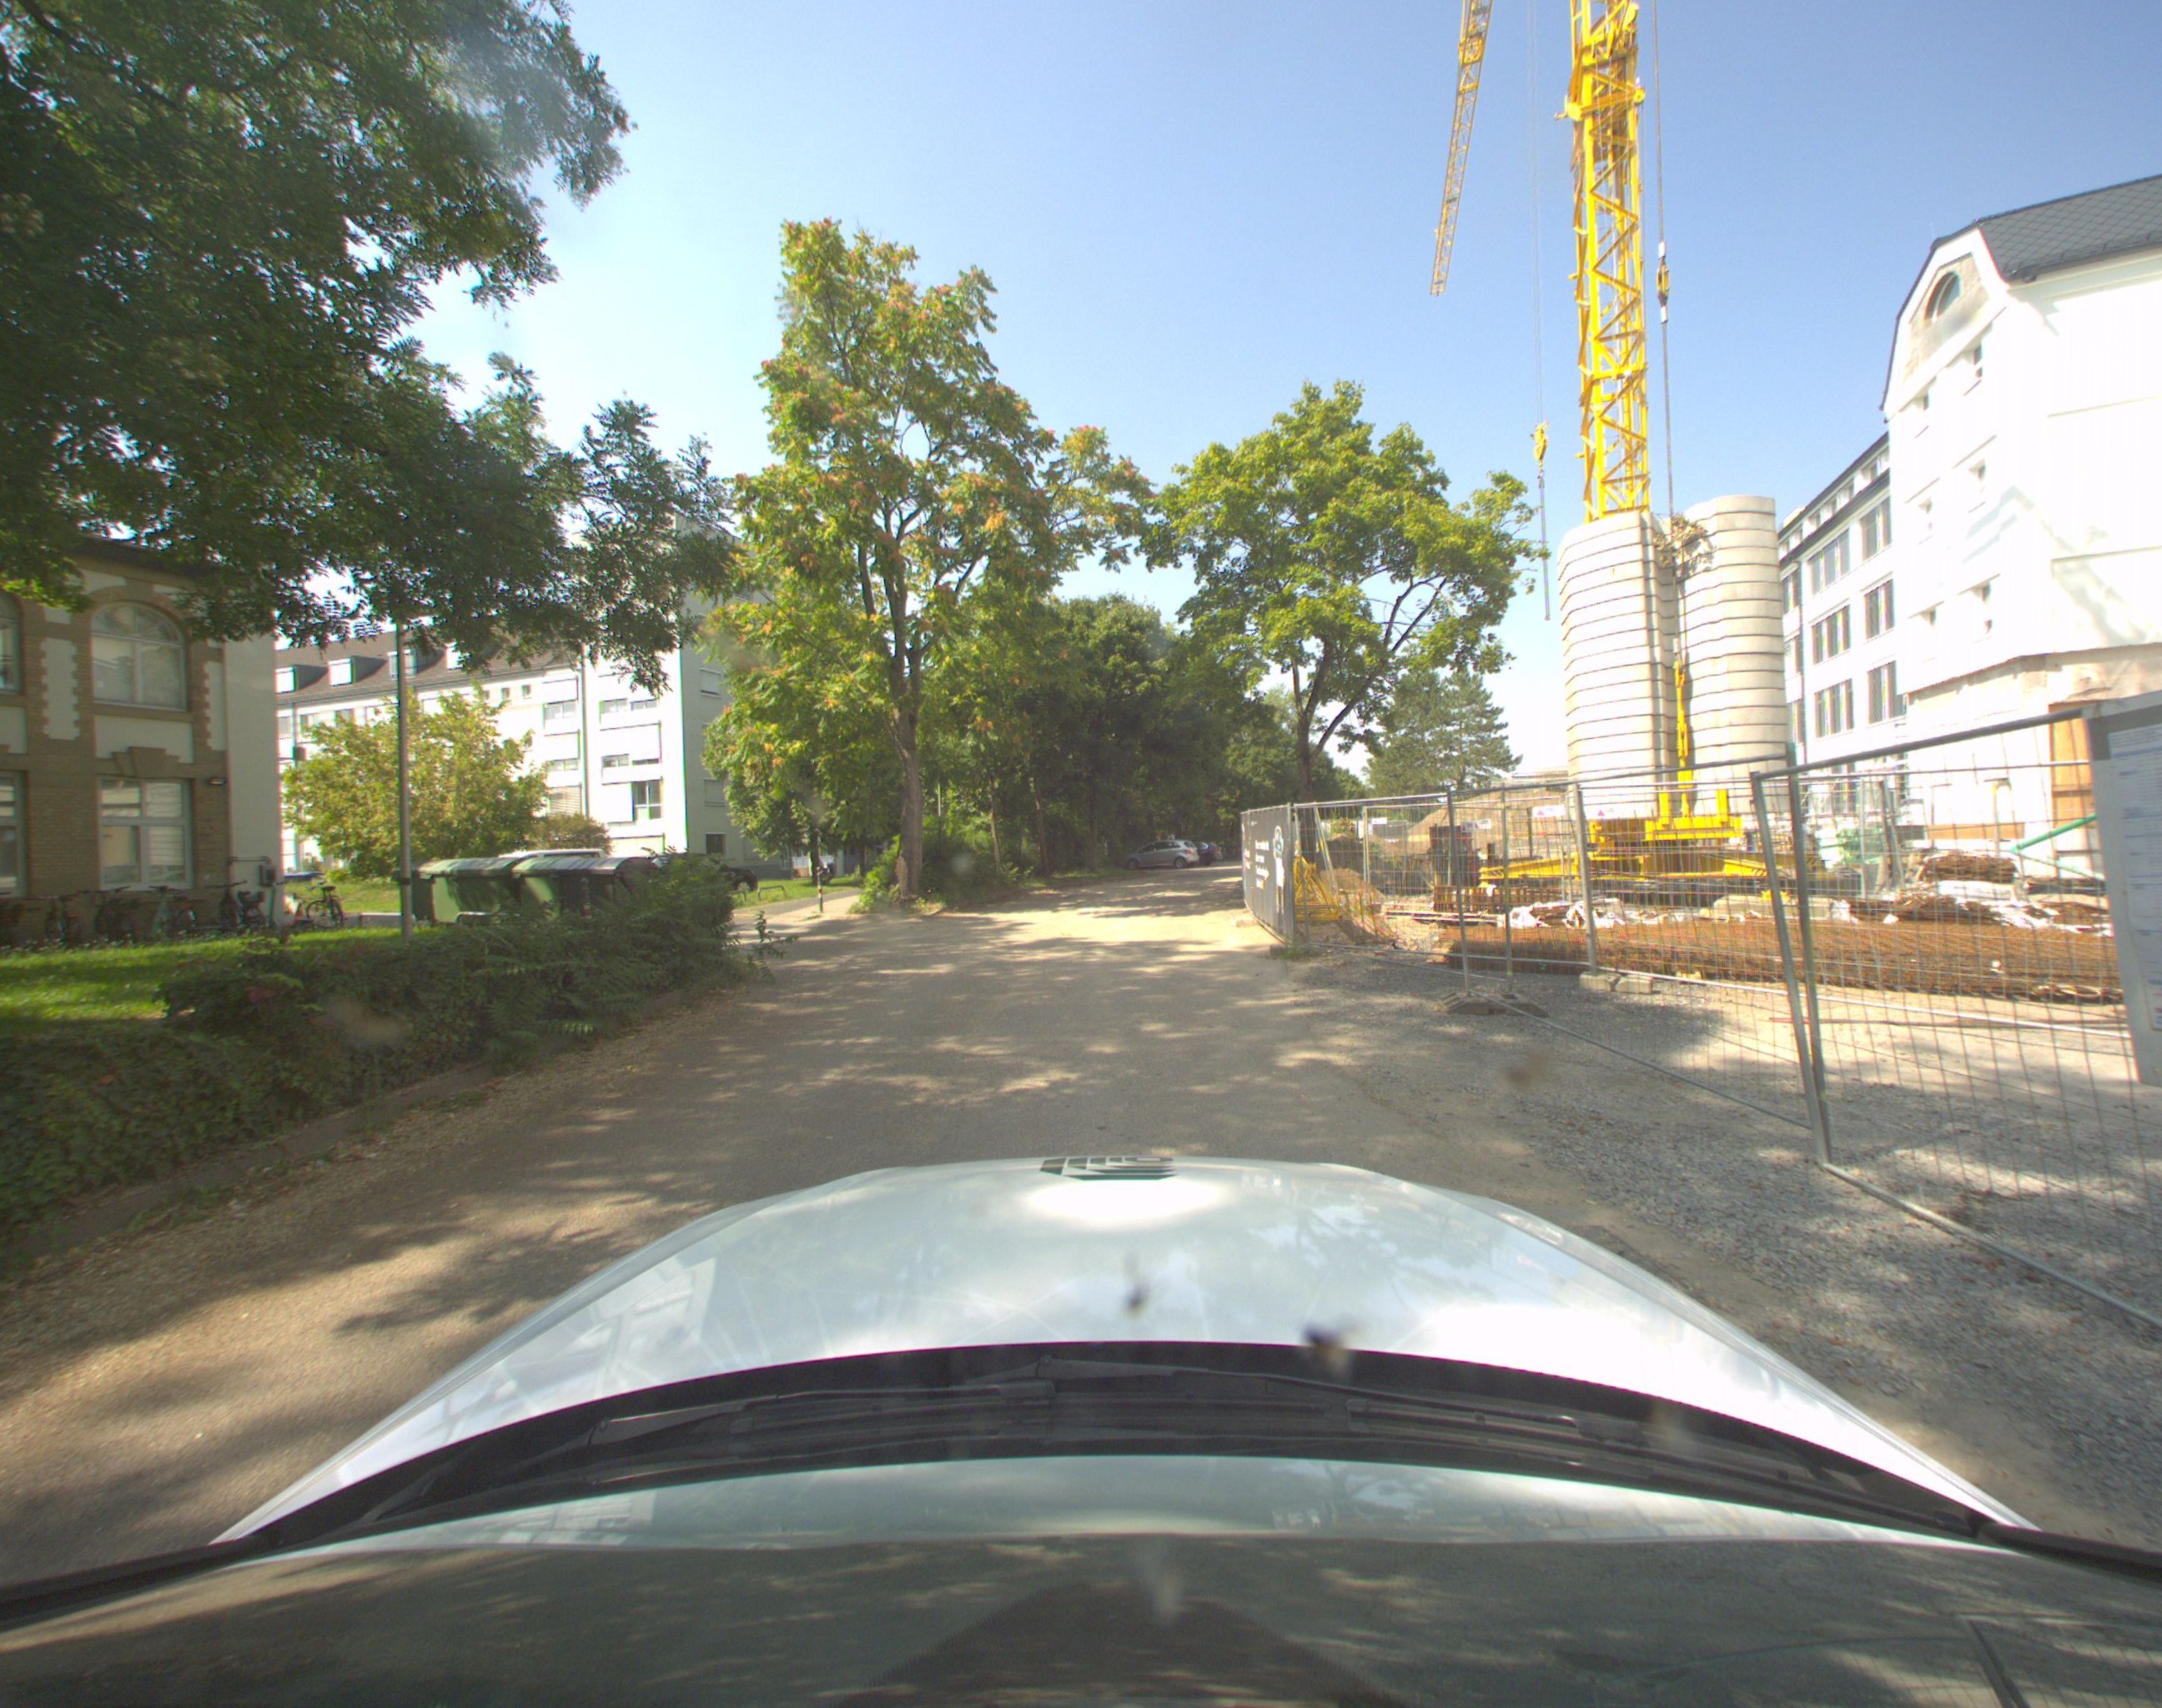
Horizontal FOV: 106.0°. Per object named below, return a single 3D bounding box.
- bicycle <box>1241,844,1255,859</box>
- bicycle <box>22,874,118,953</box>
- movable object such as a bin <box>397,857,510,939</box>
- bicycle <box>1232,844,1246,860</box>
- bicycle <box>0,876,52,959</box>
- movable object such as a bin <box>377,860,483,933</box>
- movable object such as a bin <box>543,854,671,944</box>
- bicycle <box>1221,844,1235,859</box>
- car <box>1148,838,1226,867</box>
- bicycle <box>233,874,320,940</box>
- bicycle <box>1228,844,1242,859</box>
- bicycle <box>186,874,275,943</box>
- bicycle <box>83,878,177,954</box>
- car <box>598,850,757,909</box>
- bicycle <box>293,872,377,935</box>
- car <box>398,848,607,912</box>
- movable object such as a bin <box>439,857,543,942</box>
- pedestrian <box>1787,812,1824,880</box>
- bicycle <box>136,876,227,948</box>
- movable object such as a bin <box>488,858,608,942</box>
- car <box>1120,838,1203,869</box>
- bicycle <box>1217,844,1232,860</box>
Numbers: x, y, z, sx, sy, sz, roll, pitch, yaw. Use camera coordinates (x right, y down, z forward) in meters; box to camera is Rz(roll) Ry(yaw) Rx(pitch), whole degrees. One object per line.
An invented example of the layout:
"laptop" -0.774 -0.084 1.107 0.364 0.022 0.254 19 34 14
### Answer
"bicycle" 12.273 -0.184 59.742 0.494 1.107 1.811 -1 1 29
"bicycle" -17.939 1.055 14.442 2.146 1.302 0.613 -3 0 27
"movable object such as a bin" -12.197 0.824 15.859 1.193 1.495 1.256 -1 0 18
"bicycle" 11.747 -0.152 60.455 0.494 1.107 1.811 -1 1 29
"bicycle" -18.145 1.067 13.689 2.146 1.302 0.613 -3 0 27
"movable object such as a bin" -13.555 0.859 16.992 1.193 1.444 1.256 -1 0 18
"movable object such as a bin" -8.294 0.762 14.328 1.360 1.493 1.339 -1 0 9
"bicycle" 11.324 -0.169 62.619 0.494 1.107 1.811 -1 1 29
"car" 6.198 -0.099 47.613 4.110 1.612 2.012 -1 1 25
"bicycle" -16.731 1.100 16.923 2.146 1.302 0.613 -3 0 27
"bicycle" 11.819 -0.191 62.413 0.494 1.107 1.811 -1 1 29
"bicycle" -17.036 1.089 16.305 2.146 1.302 0.613 -3 0 27
"bicycle" -17.538 1.137 15.013 2.146 1.302 0.613 -3 0 27
"car" -11.891 0.709 24.247 1.685 1.527 3.937 -2 1 30
"bicycle" -16.390 1.084 17.870 2.146 1.302 0.613 -3 0 27
"car" -19.273 0.800 27.457 2.471 1.881 5.115 -2 1 26
"movable object such as a bin" -10.962 0.818 15.172 1.089 1.481 1.106 -1 0 18
"pedestrian" 16.452 -0.180 18.509 0.517 1.528 0.498 -2 0 32
"bicycle" -17.328 1.111 15.677 2.146 1.302 0.613 -3 0 27
"movable object such as a bin" -9.746 0.815 14.940 1.317 1.431 1.255 -1 0 17
"car" 4.485 -0.027 45.463 4.110 1.612 2.012 -1 1 25
"bicycle" 10.659 -0.137 60.583 0.494 1.107 1.811 -1 1 29
